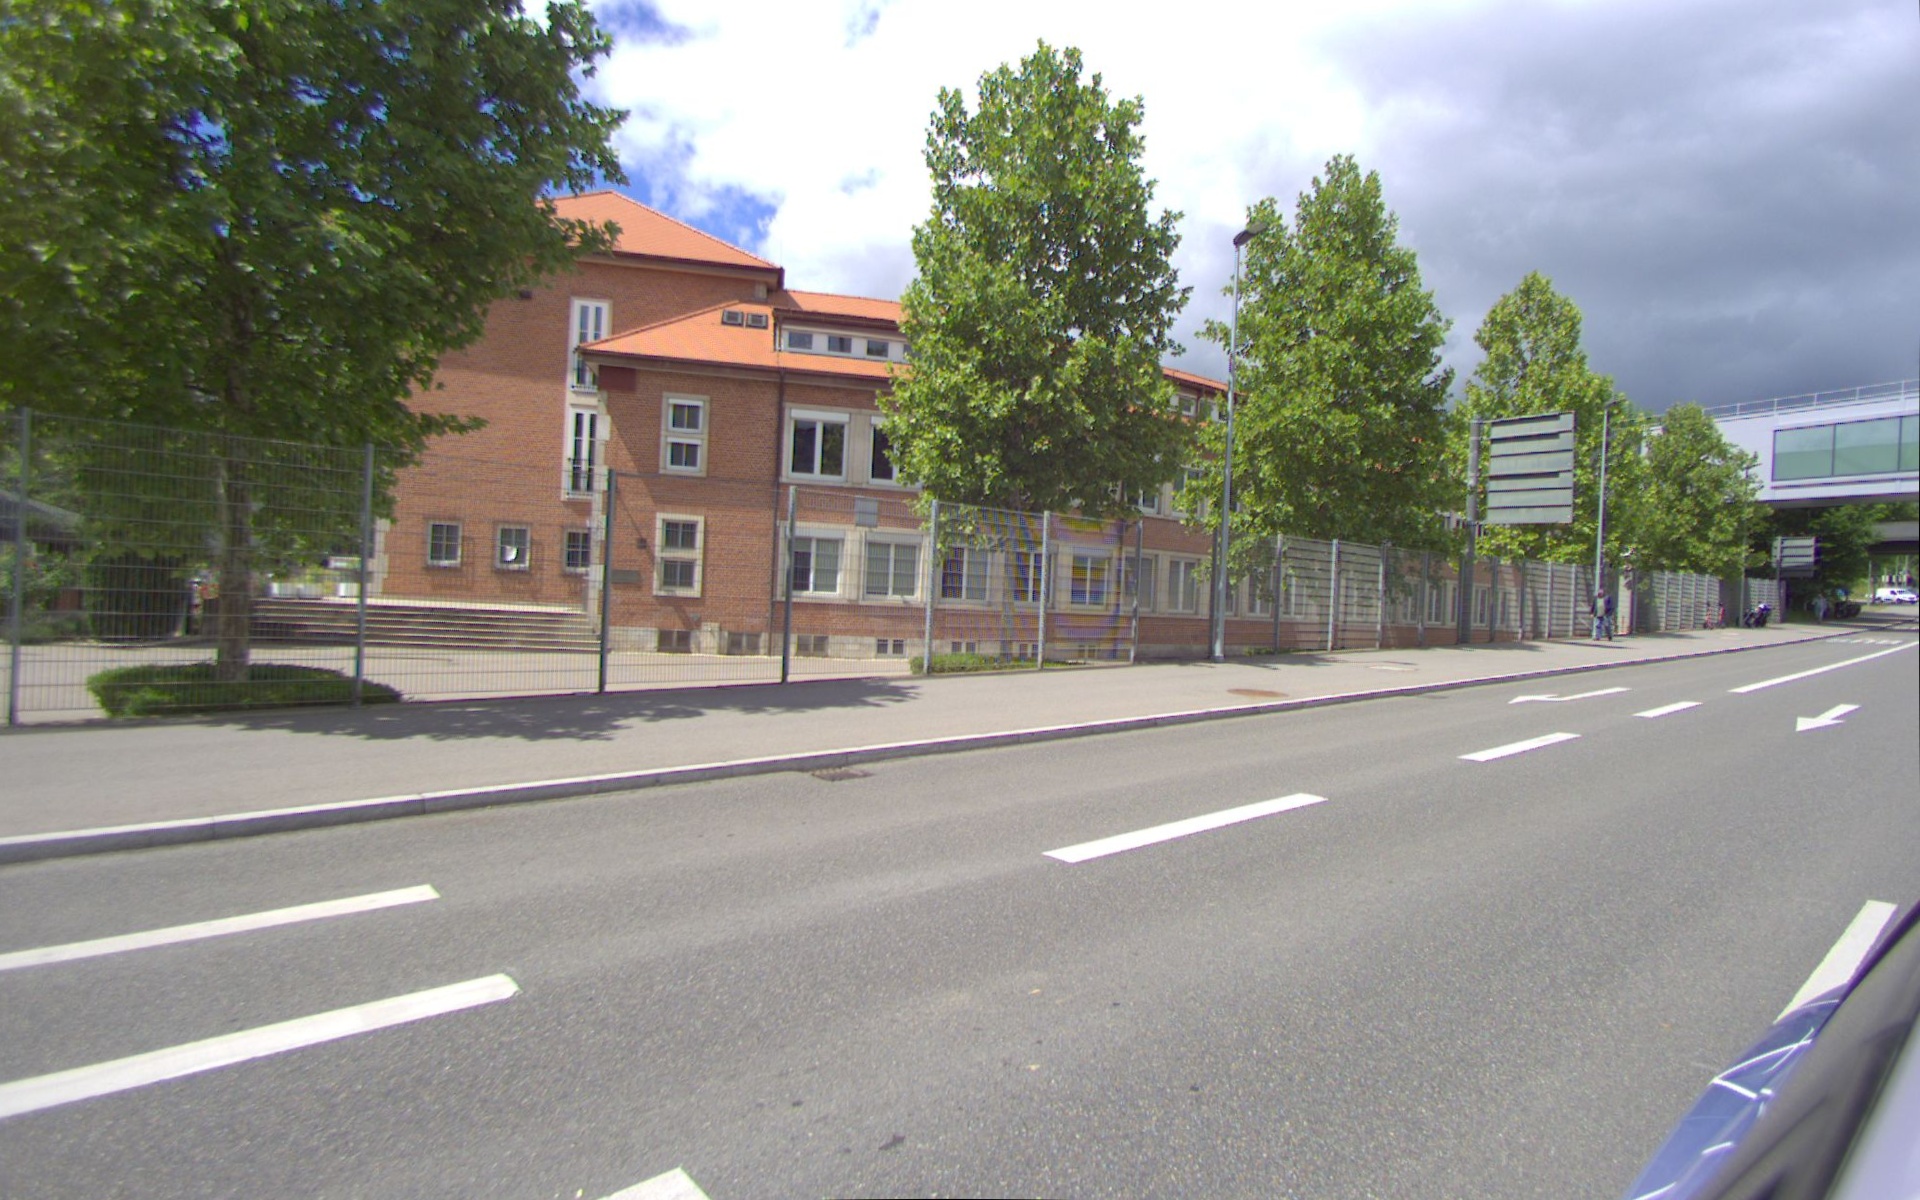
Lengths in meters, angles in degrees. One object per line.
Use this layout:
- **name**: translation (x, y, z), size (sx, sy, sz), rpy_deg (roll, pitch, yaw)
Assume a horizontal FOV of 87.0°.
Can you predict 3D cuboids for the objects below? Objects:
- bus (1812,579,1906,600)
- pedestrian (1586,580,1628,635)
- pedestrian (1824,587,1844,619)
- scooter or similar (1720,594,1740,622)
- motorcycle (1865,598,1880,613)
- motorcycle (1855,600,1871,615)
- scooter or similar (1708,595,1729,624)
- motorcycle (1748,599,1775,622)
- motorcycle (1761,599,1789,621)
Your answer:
- **bus**: translation (127.369, -1.493, 143.546), size (9.733, 2.972, 2.616), rpy_deg (0, 1, 38)
- **pedestrian**: translation (21.877, 0.246, 34.217), size (0.924, 1.764, 0.879), rpy_deg (0, 3, -42)
- **pedestrian**: translation (53.865, 0.162, 62.380), size (1.078, 1.911, 0.790), rpy_deg (0, 2, -43)
- **scooter or similar**: translation (37.193, 0.391, 48.907), size (1.314, 1.310, 0.492), rpy_deg (0, 2, -42)
- **motorcycle**: translation (70.575, 0.417, 78.259), size (2.143, 1.096, 0.679), rpy_deg (0, 2, -43)
- **motorcycle**: translation (68.551, 0.532, 76.834), size (2.004, 1.096, 0.679), rpy_deg (0, 2, -43)
- **scooter or similar**: translation (35.509, 0.428, 47.367), size (1.314, 1.310, 0.492), rpy_deg (0, 2, -42)
- **motorcycle**: translation (41.018, 0.528, 51.805), size (2.209, 1.077, 0.669), rpy_deg (0, 4, -43)
- **motorcycle**: translation (43.348, 0.525, 53.813), size (2.467, 1.077, 0.709), rpy_deg (0, 4, -43)
